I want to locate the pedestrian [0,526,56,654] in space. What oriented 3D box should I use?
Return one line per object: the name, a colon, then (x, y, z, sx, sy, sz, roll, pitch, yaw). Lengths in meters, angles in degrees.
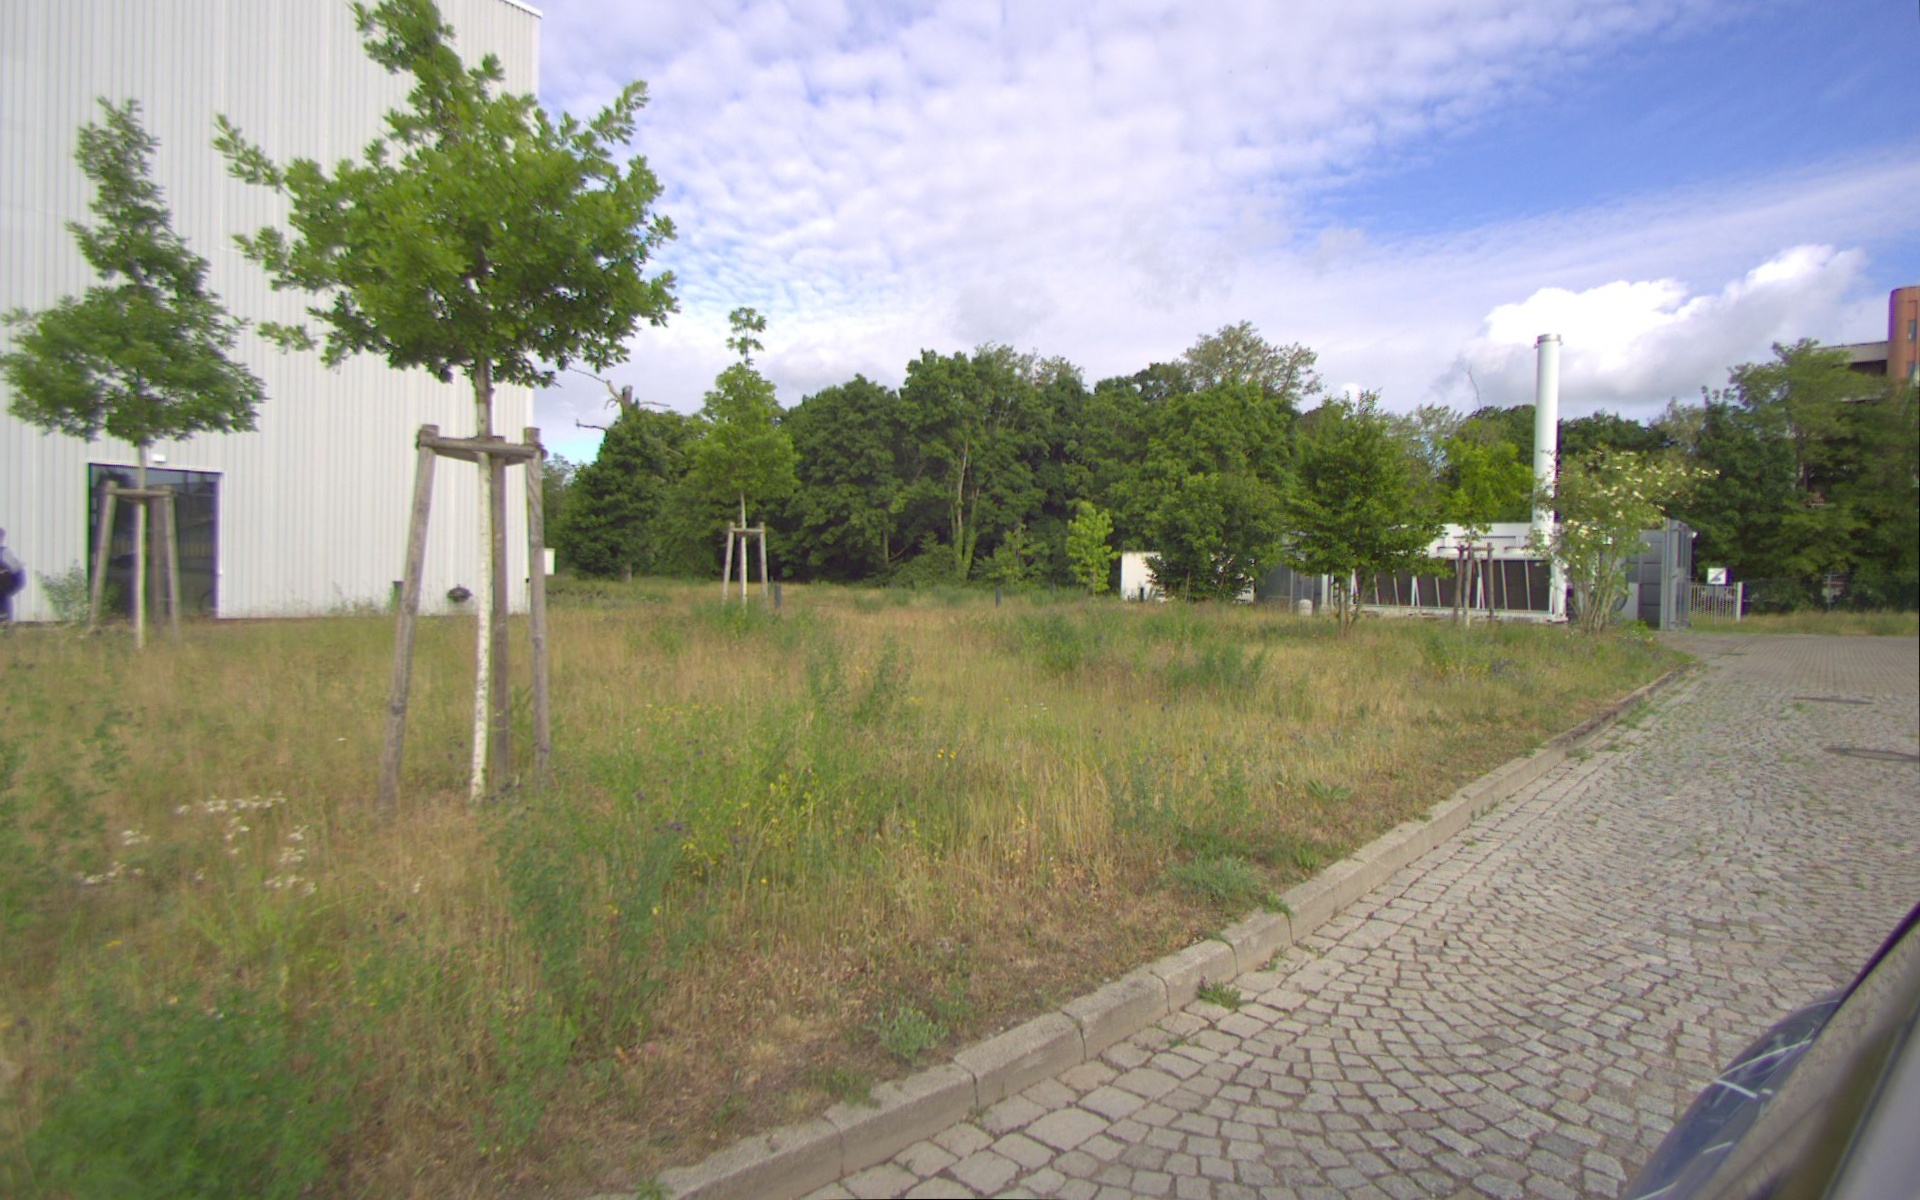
pedestrian: (-12.387, -0.146, 12.855, 1.052, 1.576, 1.081, 1, 1, -24)
